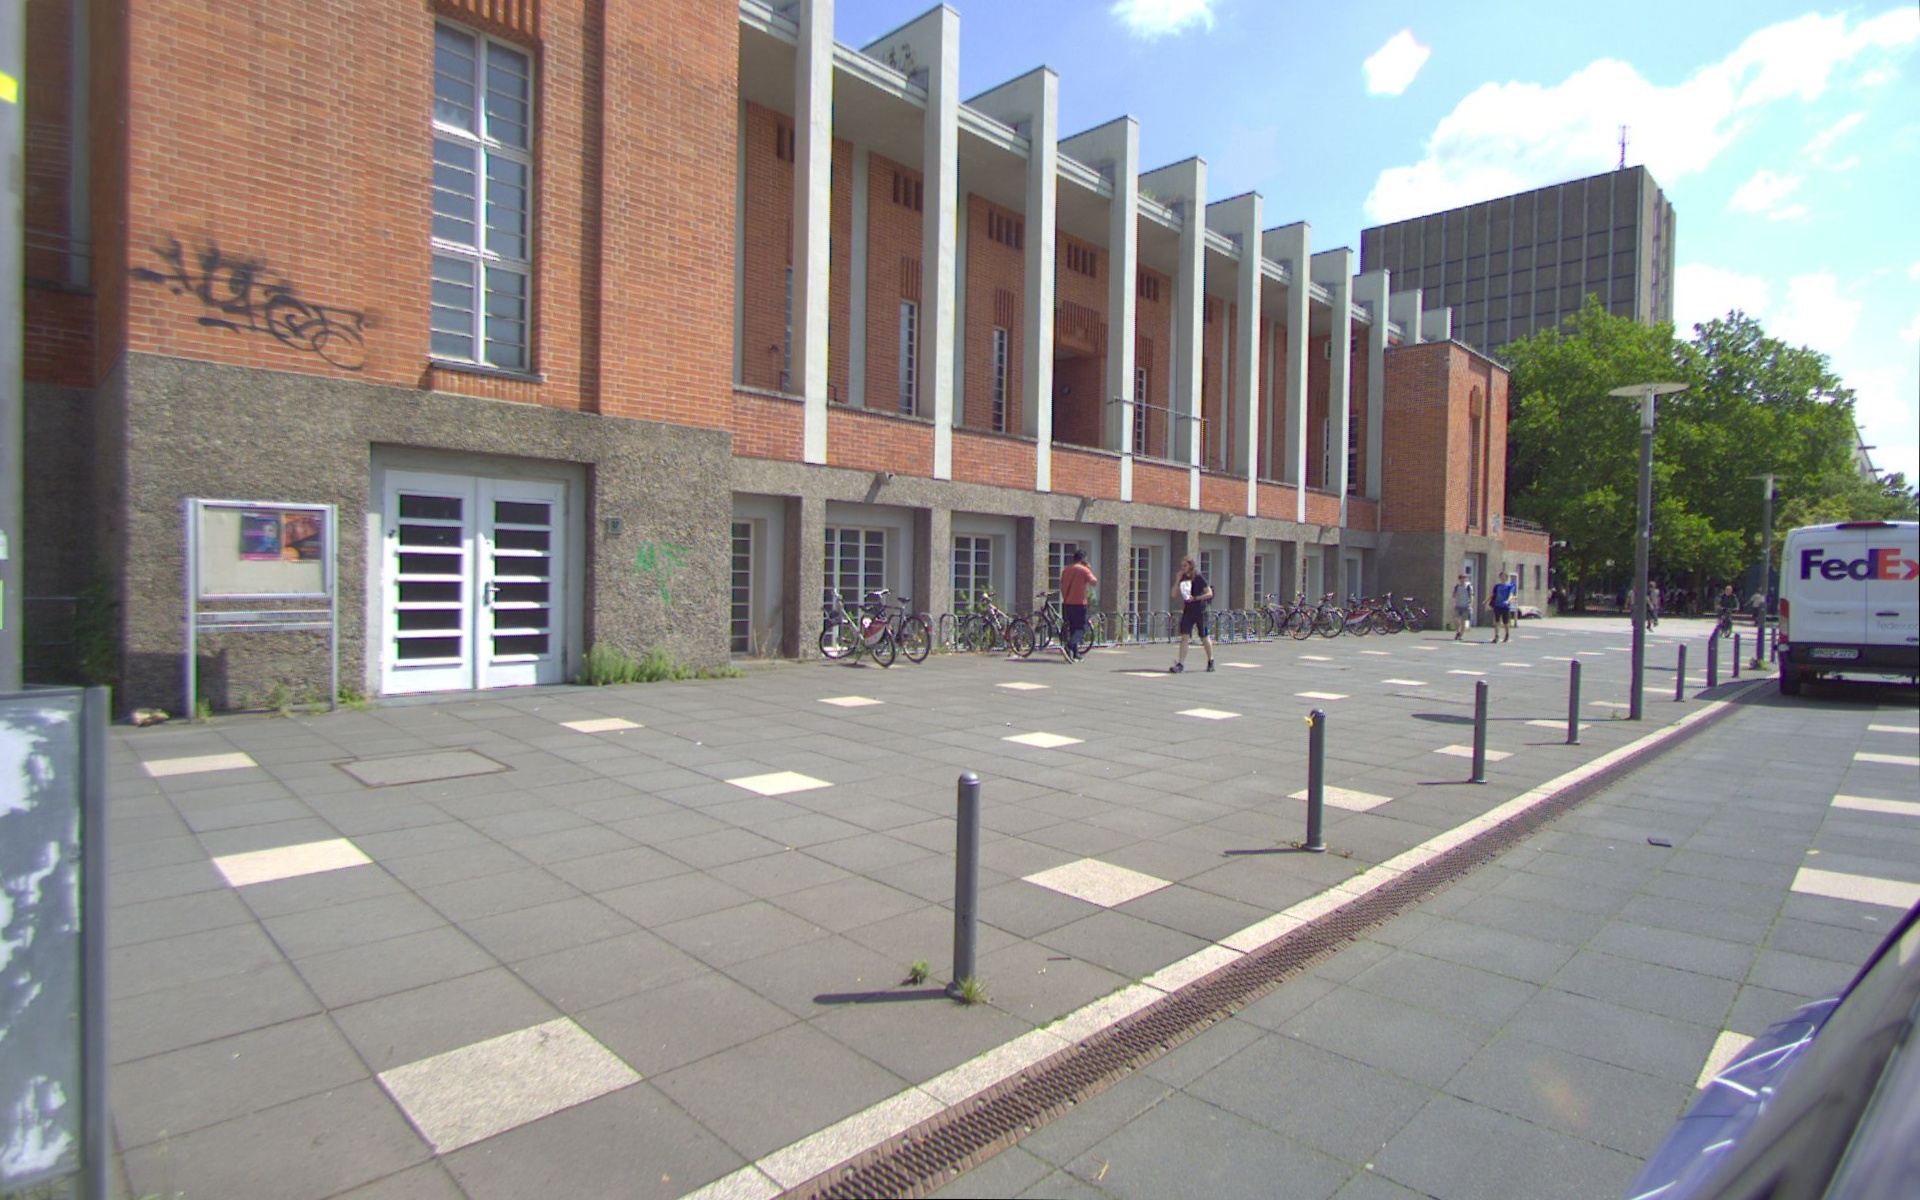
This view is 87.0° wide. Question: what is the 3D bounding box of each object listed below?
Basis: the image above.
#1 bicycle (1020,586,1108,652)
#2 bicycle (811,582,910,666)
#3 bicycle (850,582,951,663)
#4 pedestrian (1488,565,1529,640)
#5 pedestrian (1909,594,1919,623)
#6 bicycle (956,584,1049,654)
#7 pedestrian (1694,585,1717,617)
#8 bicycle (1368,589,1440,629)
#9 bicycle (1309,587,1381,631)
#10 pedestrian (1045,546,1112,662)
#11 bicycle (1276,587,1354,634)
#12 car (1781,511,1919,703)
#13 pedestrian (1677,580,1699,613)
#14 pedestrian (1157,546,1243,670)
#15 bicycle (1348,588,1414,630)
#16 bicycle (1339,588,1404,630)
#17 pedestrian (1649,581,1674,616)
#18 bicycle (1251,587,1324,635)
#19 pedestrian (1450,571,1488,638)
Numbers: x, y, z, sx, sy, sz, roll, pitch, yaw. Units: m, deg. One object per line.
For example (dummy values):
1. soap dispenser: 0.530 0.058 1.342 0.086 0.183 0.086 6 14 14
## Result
1. bicycle: 1.895 0.325 18.599 1.683 1.124 0.429 3 2 44
2. bicycle: -1.520 0.331 15.240 1.753 1.164 0.429 3 2 44
3. bicycle: -0.957 0.328 15.967 1.753 1.164 0.509 3 2 44
4. pedestrian: 14.435 0.038 26.640 0.664 1.913 1.093 3 2 42
5. pedestrian: 49.186 0.425 51.987 0.628 1.460 0.584 1 1 -44
6. bicycle: 0.720 0.311 17.688 1.747 1.124 0.429 3 2 44
7. pedestrian: 41.440 0.054 56.266 0.742 1.694 0.840 2 1 22
8. bicycle: 13.382 0.256 30.525 1.930 1.124 0.449 3 2 44
9. bicycle: 10.501 0.236 27.659 1.797 1.124 0.429 3 2 44
10. pedestrian: 1.958 0.051 16.699 0.663 1.857 0.892 2 1 43
11. bicycle: 9.241 0.250 26.397 1.911 1.124 0.429 3 2 44
12. car: 14.526 0.073 15.959 2.059 2.575 5.759 2 2 42
13. pedestrian: 40.718 -0.197 56.622 0.773 1.813 0.709 2 1 24
14. pedestrian: 3.759 0.104 15.795 0.843 1.857 1.180 2 1 39
15. bicycle: 12.148 0.255 29.244 1.694 1.124 0.429 3 2 44
16. bicycle: 11.681 0.242 28.743 1.650 1.124 0.429 3 2 44
17. pedestrian: 39.828 -0.105 57.481 0.971 1.970 0.971 1 1 22
18. bicycle: 8.132 0.263 25.174 1.683 1.124 0.429 3 2 44
19. pedestrian: 13.680 0.107 27.206 0.986 1.727 0.585 -1 3 -44
